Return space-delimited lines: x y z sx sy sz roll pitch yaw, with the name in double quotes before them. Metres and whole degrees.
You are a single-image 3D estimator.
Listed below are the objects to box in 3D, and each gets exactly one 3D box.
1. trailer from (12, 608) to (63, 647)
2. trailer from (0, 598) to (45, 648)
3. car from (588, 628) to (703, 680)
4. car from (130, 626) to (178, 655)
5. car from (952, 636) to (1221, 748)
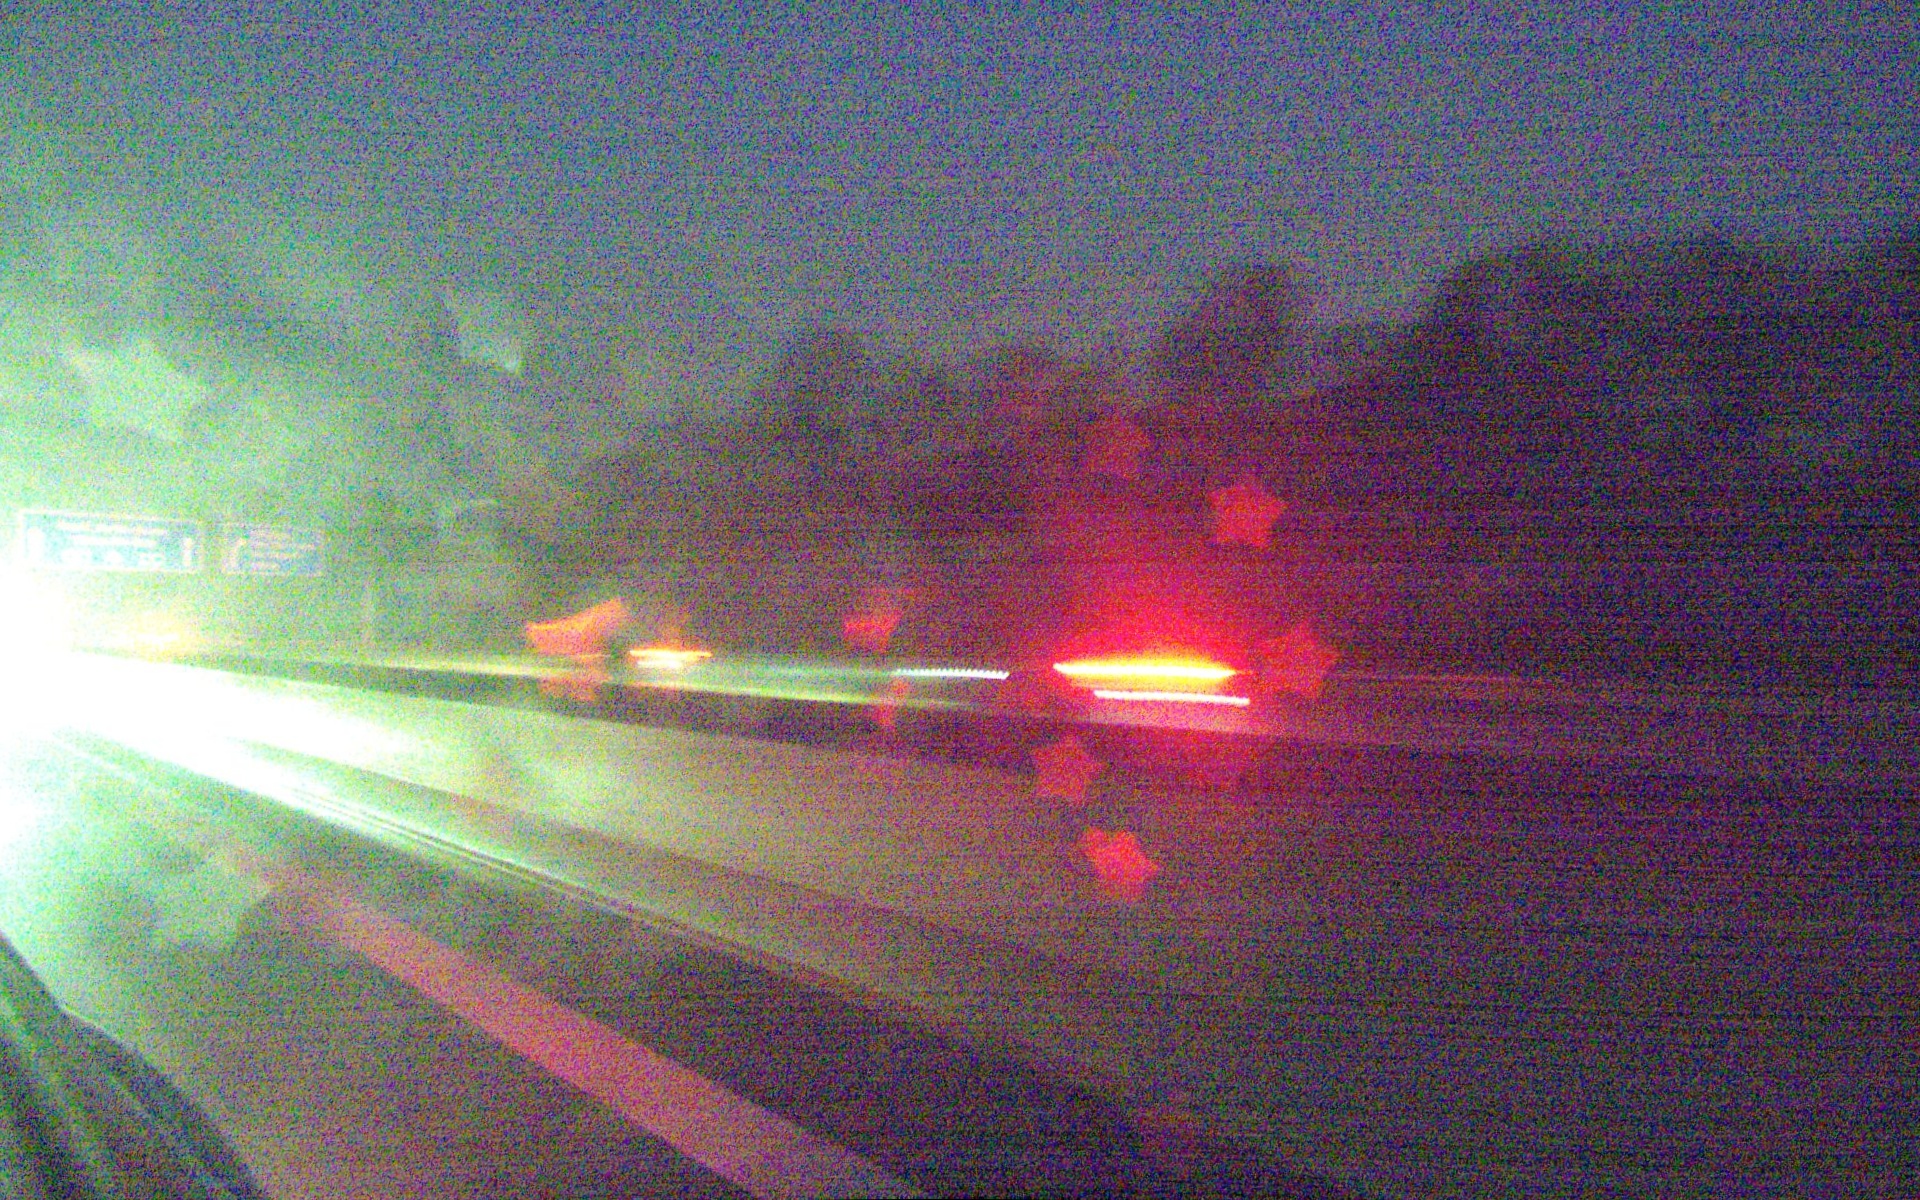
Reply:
"trailer" -106.671 3.173 116.949 15.636 4.253 2.662 -2 -1 41
"trailer" -89.114 2.152 95.112 14.618 4.411 2.663 -2 -1 40
"car" -11.211 1.872 35.958 4.244 1.727 1.972 -2 -3 41
"car" -58.854 2.912 73.875 4.389 2.029 1.972 -1 -2 41
"car" 2.208 1.553 18.467 4.588 1.773 1.972 -2 -3 41
